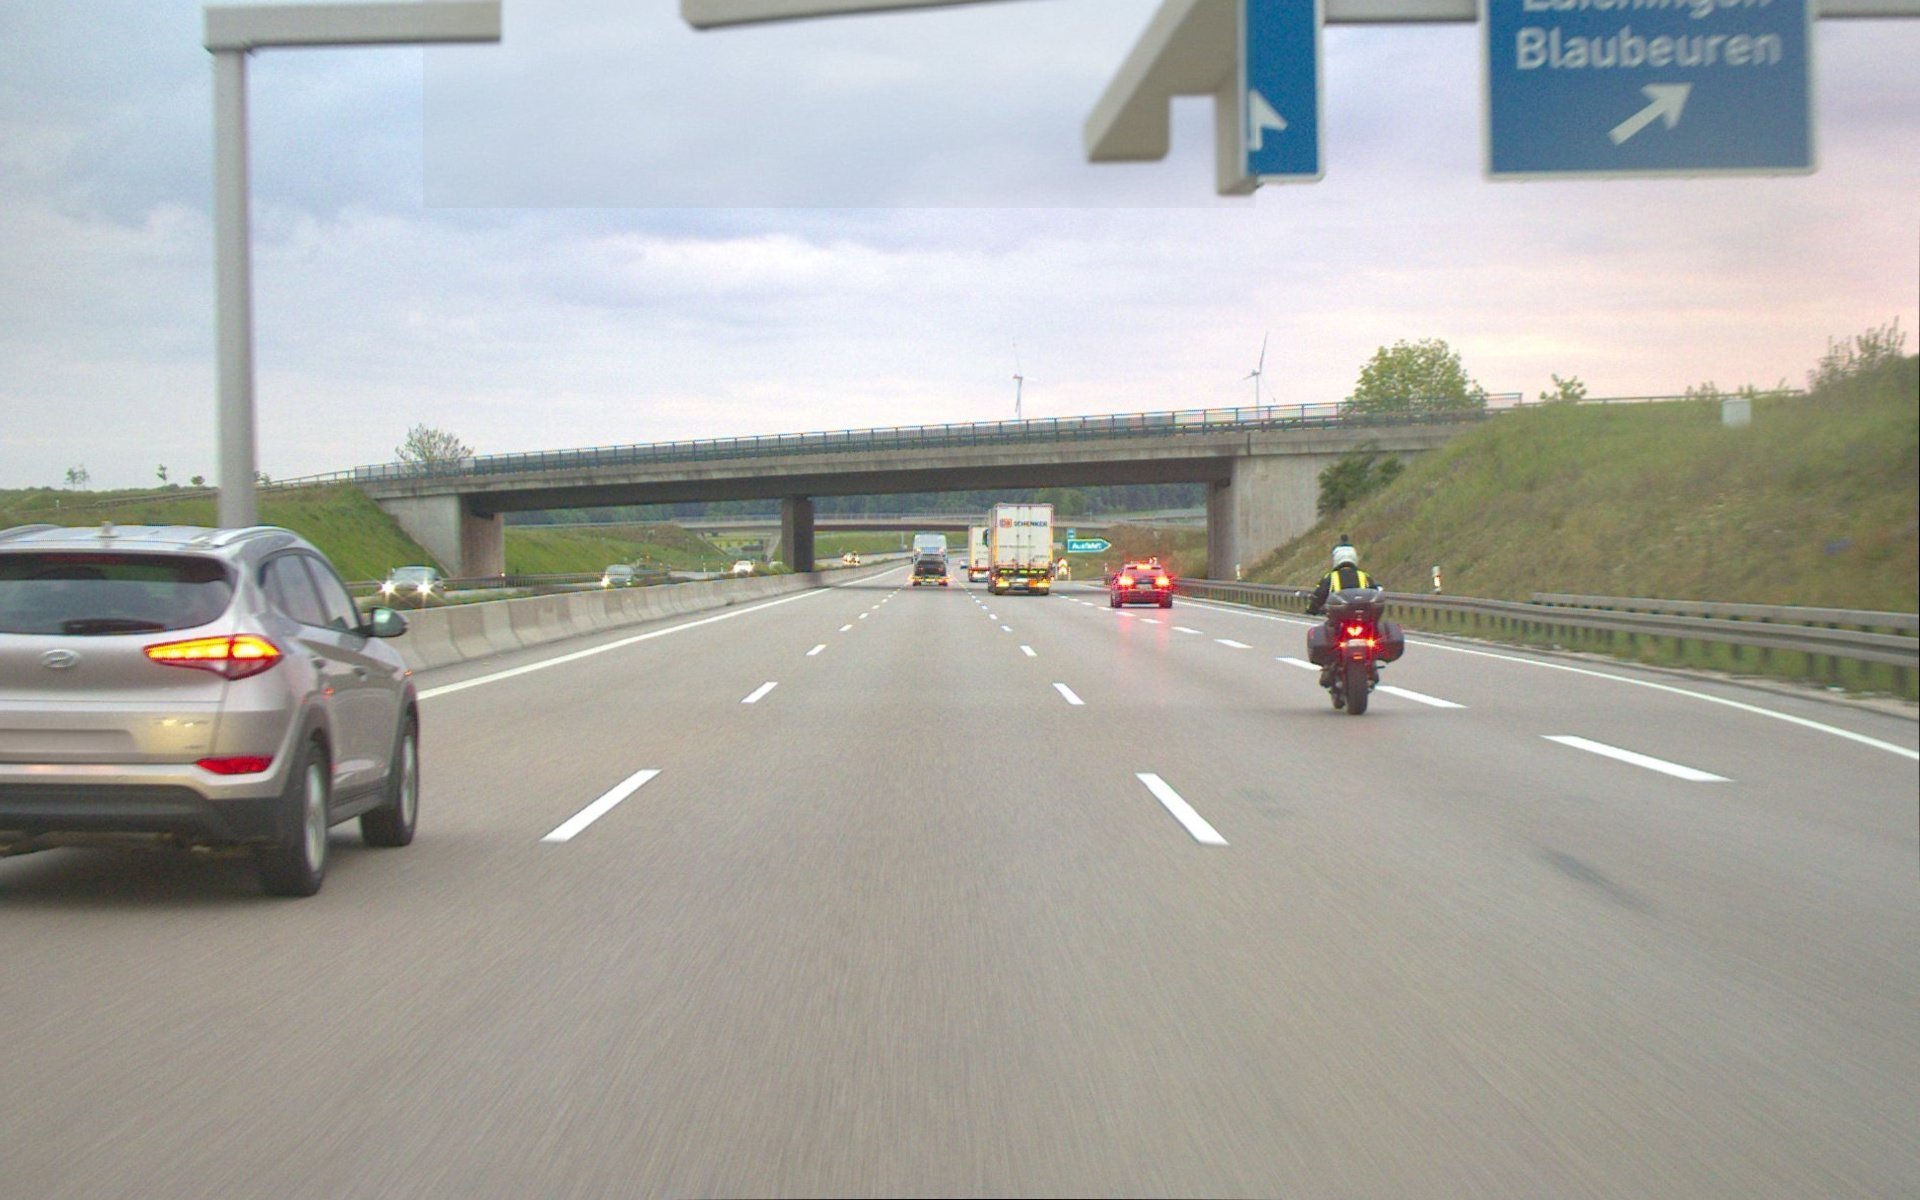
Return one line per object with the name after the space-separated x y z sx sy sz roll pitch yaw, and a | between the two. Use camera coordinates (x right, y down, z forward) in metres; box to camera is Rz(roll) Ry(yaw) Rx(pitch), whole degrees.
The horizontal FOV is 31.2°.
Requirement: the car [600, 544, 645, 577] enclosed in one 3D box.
-16.996 -1.969 173.187 1.819 1.623 4.000 0 0 0 | car

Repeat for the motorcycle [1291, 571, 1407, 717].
3.865 0.416 34.331 0.902 1.342 2.349 0 2 0 | motorcycle

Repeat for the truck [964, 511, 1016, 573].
2.098 -4.160 244.525 3.525 4.330 8.406 1 1 -1 | truck

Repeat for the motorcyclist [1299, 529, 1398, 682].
3.850 0.039 34.155 0.866 1.482 1.168 1 1 1 | motorcyclist

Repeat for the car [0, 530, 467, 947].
-3.713 0.515 16.708 1.852 1.687 5.512 0 1 0 | car

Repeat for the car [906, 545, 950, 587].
-1.941 -2.044 203.617 2.516 2.383 6.497 -1 1 -1 | car

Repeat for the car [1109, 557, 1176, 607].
5.987 -0.608 113.081 1.918 1.574 4.000 -1 1 -1 | car

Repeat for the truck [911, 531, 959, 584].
-1.624 -2.756 219.725 2.951 3.206 8.406 1 1 -1 | truck

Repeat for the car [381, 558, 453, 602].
-20.305 -0.741 128.814 1.993 1.597 5.200 0 0 -1 | car

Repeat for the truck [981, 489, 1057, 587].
2.596 -2.834 154.031 3.234 4.213 9.599 1 1 0 | truck
